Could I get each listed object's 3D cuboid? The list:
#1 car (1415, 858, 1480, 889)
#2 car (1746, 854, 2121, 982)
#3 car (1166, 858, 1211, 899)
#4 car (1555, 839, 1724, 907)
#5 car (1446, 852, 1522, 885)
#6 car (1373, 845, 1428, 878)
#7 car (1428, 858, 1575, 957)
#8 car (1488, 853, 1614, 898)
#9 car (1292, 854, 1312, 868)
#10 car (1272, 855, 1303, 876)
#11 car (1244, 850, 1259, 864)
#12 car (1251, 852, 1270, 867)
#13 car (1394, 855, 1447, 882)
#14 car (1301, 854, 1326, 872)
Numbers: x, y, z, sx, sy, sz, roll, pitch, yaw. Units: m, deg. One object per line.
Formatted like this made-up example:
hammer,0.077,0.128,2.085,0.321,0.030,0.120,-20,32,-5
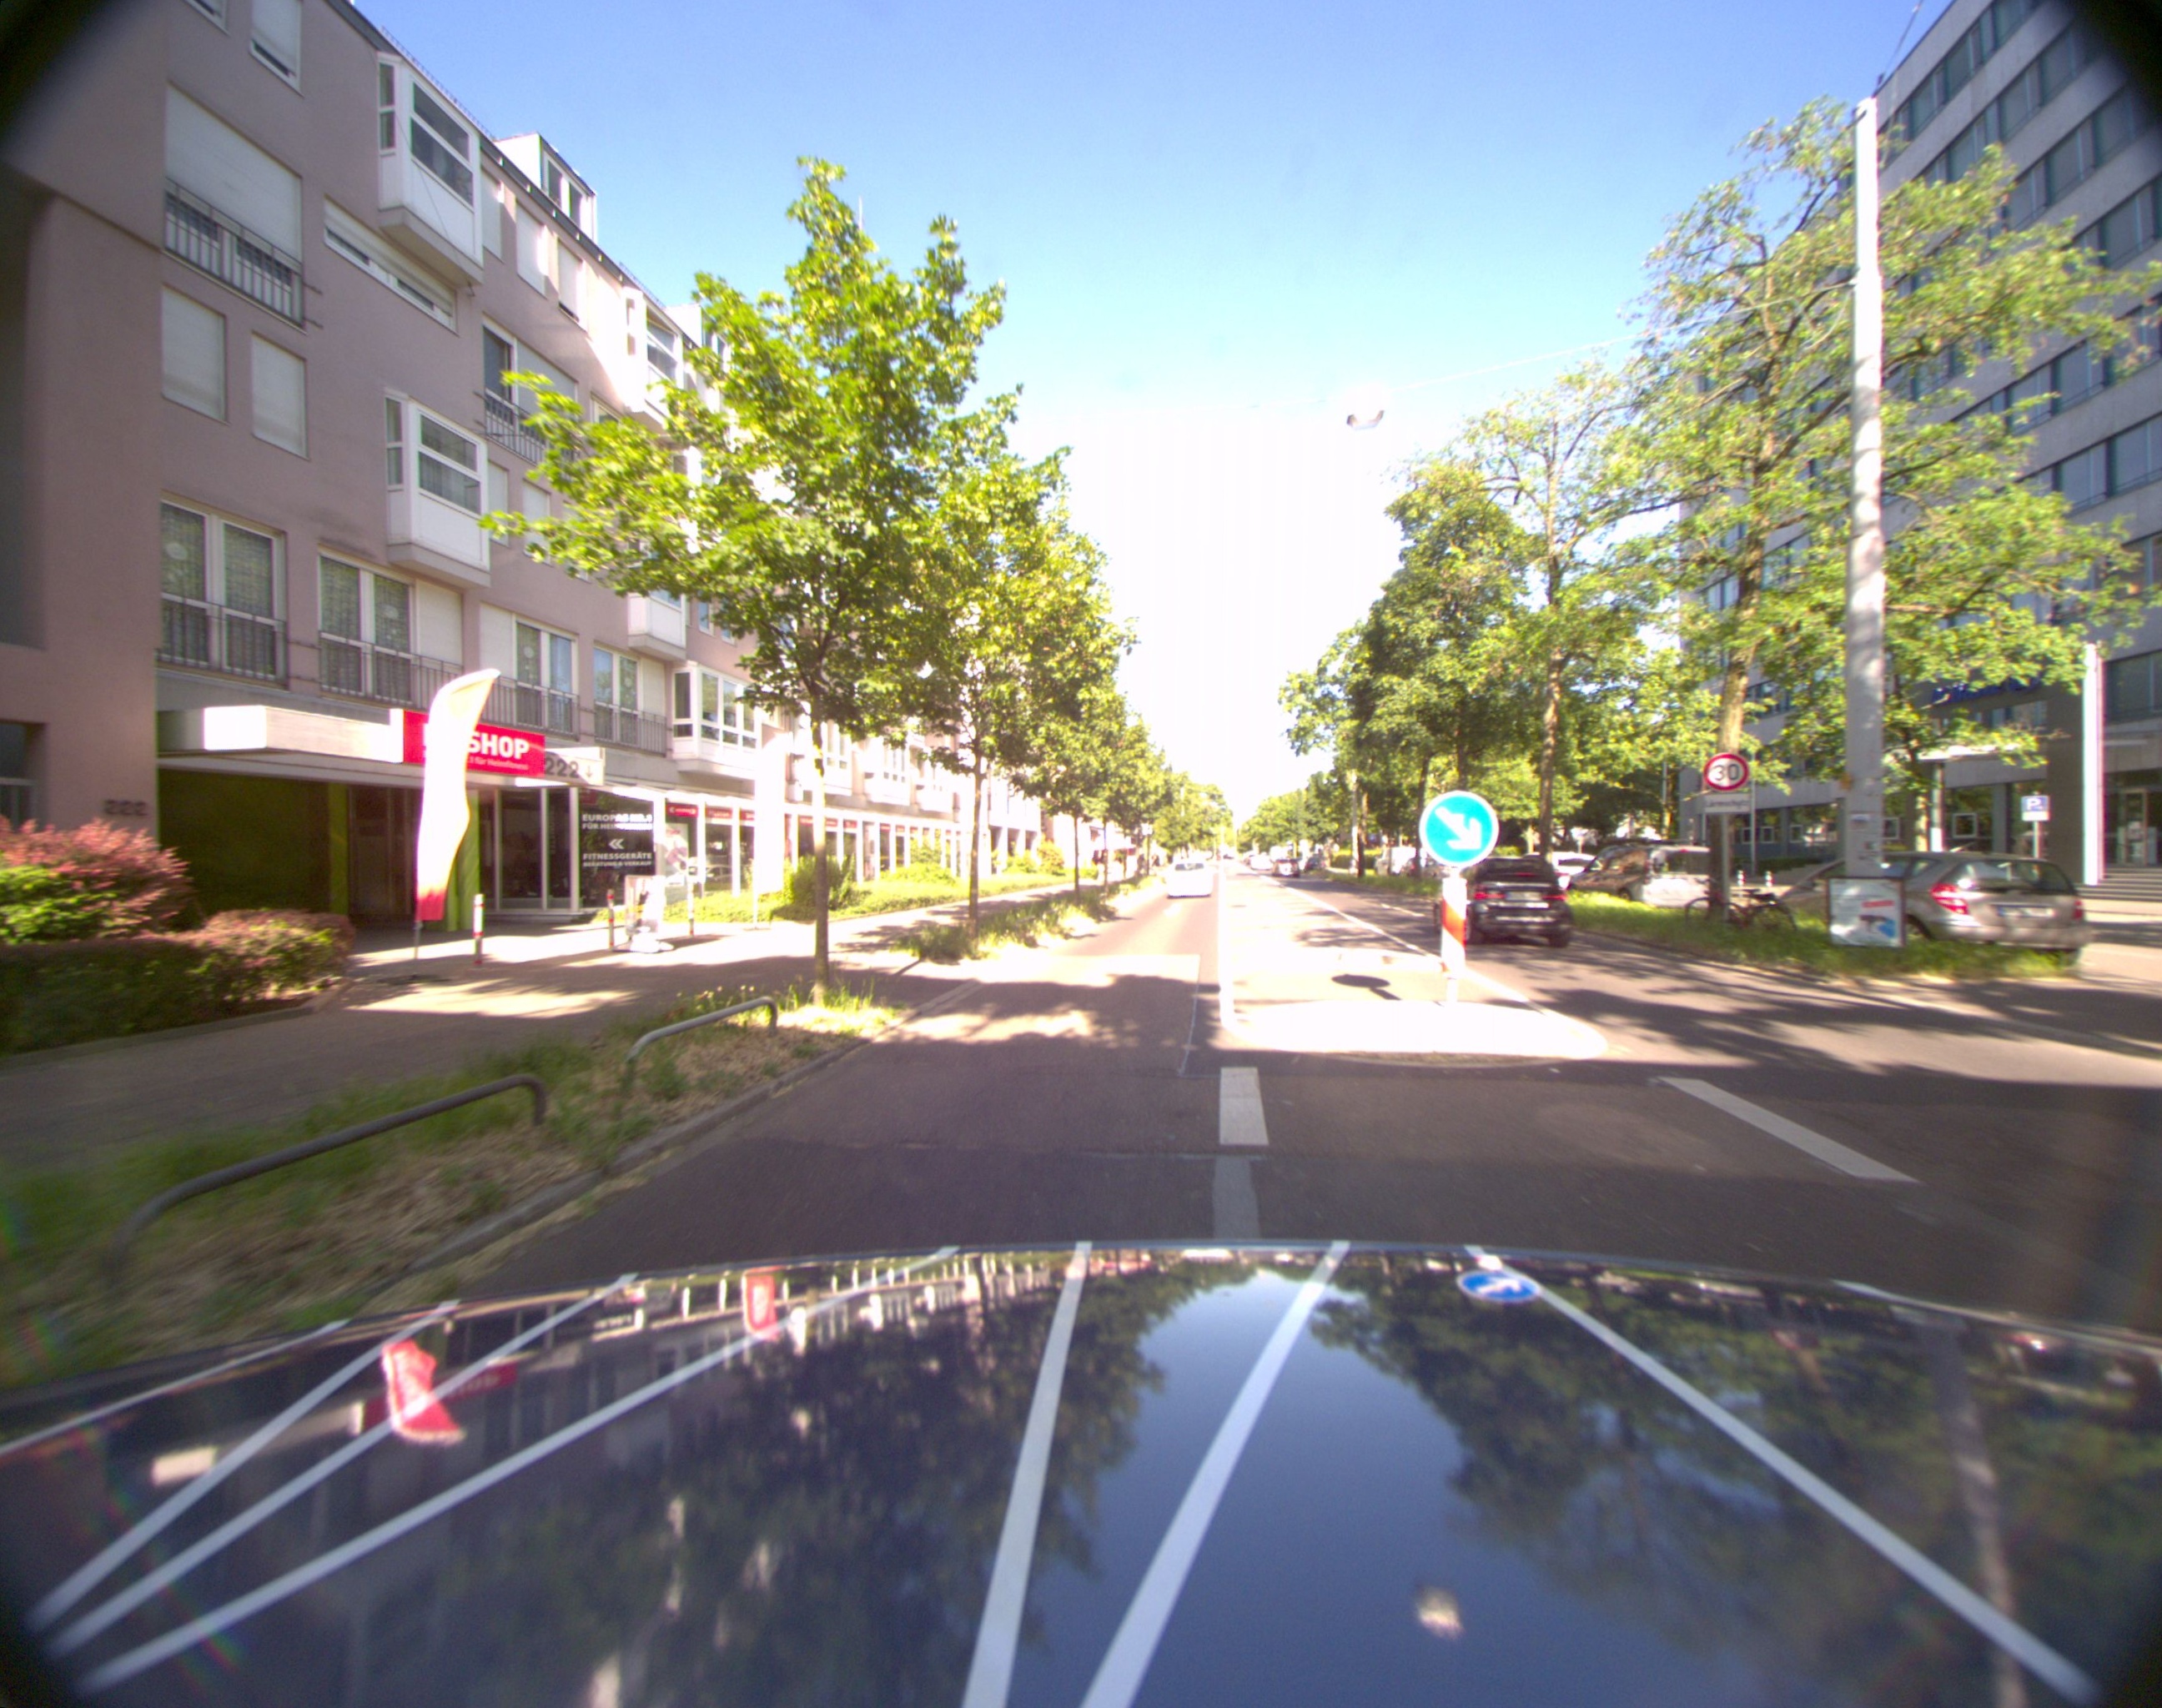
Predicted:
car,17.110,0.863,35.650,1.655,1.336,3.972,0,0,9
car,12.798,0.819,11.883,1.776,1.637,4.086,0,0,11
car,4.381,0.939,30.502,1.662,1.521,4.102,-1,0,10
car,14.190,0.438,19.642,1.732,1.540,4.452,0,0,10
car,15.927,0.553,30.215,1.654,1.219,3.850,0,0,12
car,19.270,0.438,45.981,2.068,1.898,4.529,0,0,9
car,7.280,0.852,13.413,1.469,1.518,2.819,0,0,11
car,15.569,0.663,25.477,1.719,1.375,4.494,-1,0,4
car,22.805,0.734,78.581,1.604,1.406,4.003,0,0,11
car,14.929,0.801,55.060,1.790,1.414,4.192,1,0,10
car,25.915,0.448,115.528,2.167,2.002,4.414,0,0,12
car,19.550,0.592,82.876,1.790,1.574,4.191,0,0,10
car,18.213,0.737,40.949,1.678,1.325,4.192,0,0,11
car,20.564,0.765,67.410,1.739,1.481,4.003,0,0,11
